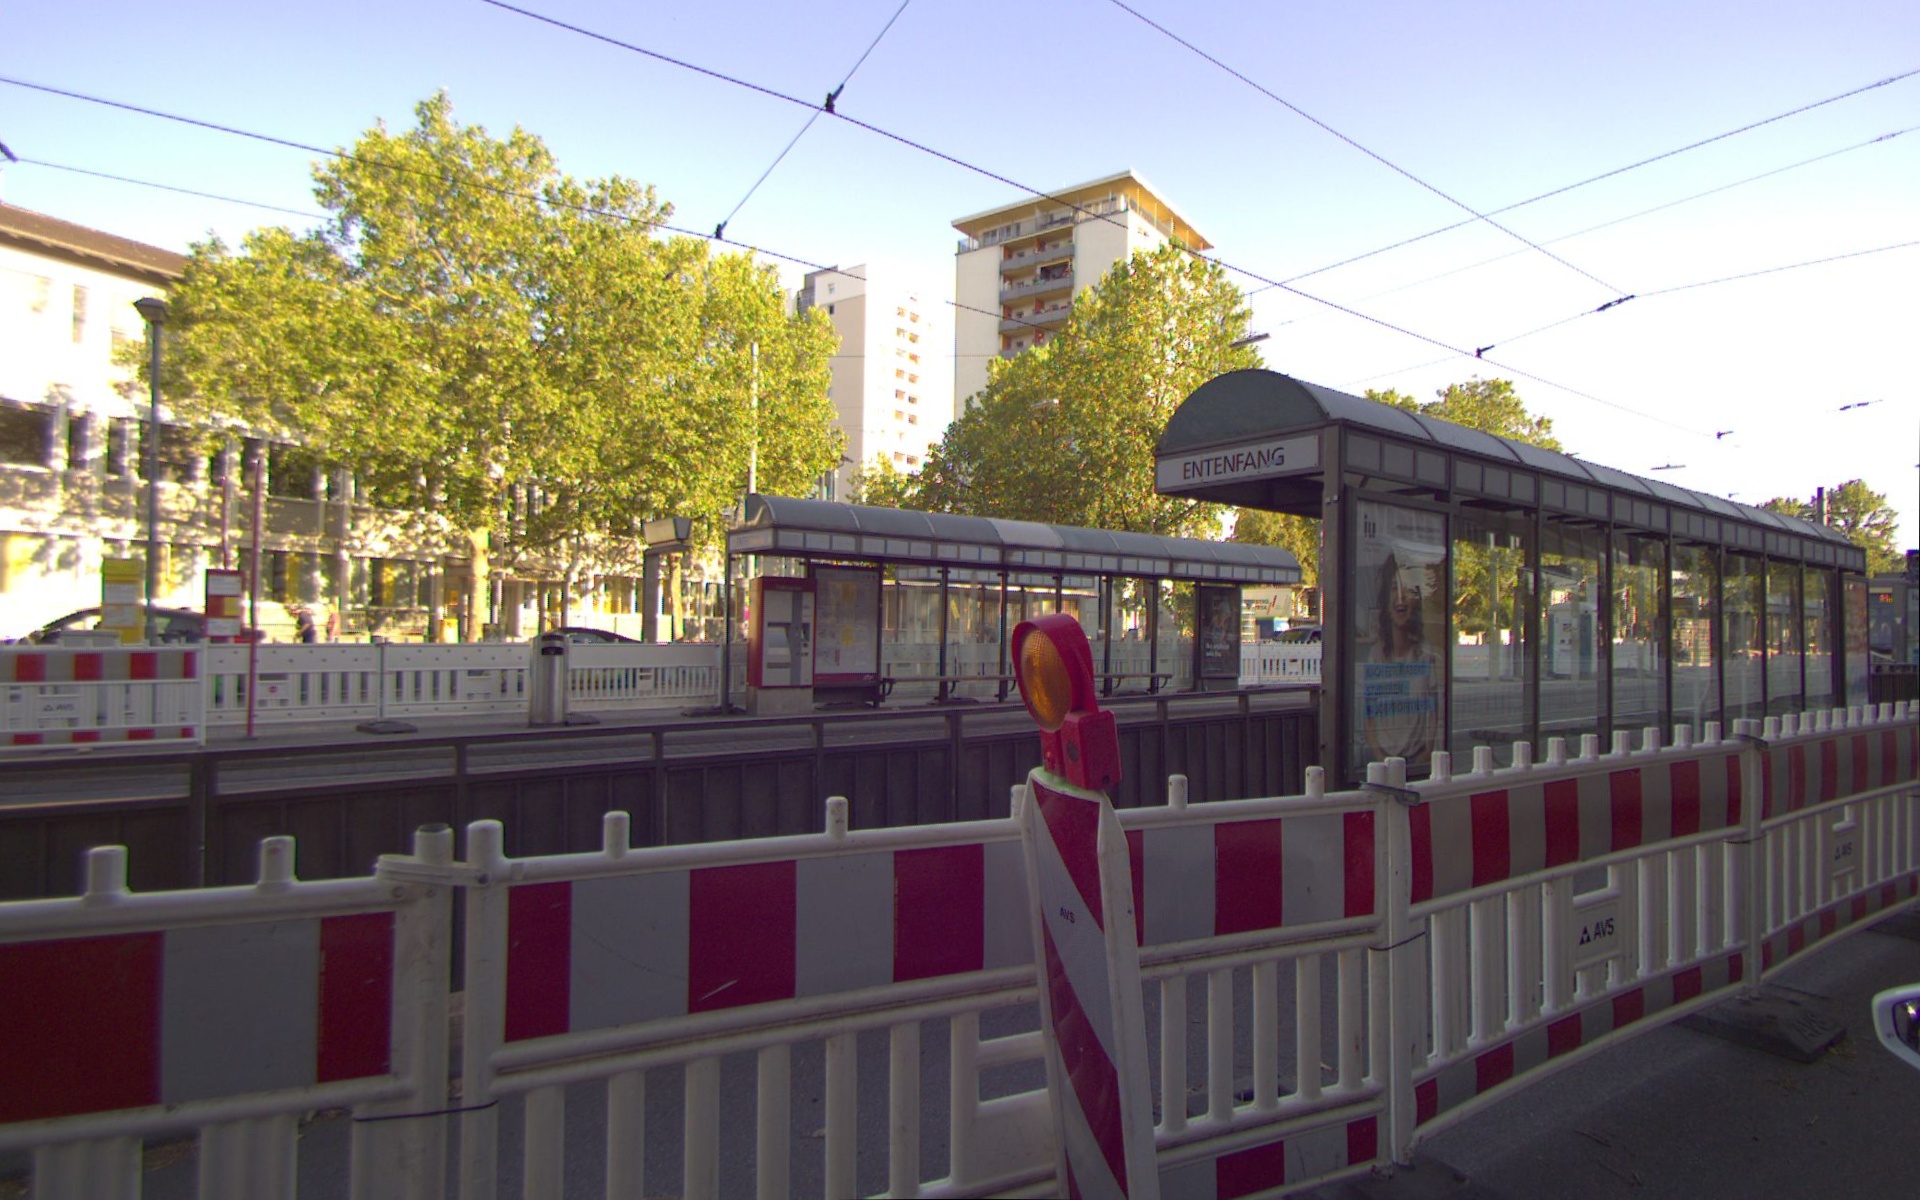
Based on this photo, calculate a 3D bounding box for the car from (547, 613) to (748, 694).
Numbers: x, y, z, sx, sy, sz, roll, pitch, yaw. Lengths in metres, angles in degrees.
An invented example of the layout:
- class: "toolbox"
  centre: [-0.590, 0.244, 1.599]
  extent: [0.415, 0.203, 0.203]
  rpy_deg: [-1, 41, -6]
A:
- class: "car"
  centre: [-7.083, 1.188, 22.857]
  extent: [3.958, 1.683, 1.982]
  rpy_deg: [2, -2, -33]

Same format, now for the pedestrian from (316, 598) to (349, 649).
- class: "pedestrian"
  centre: [-18.495, 0.688, 29.620]
  extent: [0.576, 1.474, 0.585]
  rpy_deg: [0, -1, 30]

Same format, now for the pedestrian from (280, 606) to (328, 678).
- class: "pedestrian"
  centre: [-17.145, 1.095, 26.267]
  extent: [0.921, 1.858, 0.691]
  rpy_deg: [2, -2, -43]

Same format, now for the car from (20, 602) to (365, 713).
- class: "car"
  centre: [-13.017, 0.961, 17.454]
  extent: [4.511, 1.683, 1.982]
  rpy_deg: [2, -2, -34]

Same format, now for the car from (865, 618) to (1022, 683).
- class: "car"
  centre: [-0.431, 1.370, 27.818]
  extent: [3.959, 1.683, 1.901]
  rpy_deg: [2, -2, -34]

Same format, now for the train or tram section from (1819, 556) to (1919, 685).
- class: "train or tram section"
  centre: [30.874, 0.711, 31.949]
  extent: [11.656, 3.580, 2.668]
  rpy_deg: [2, 0, -36]
